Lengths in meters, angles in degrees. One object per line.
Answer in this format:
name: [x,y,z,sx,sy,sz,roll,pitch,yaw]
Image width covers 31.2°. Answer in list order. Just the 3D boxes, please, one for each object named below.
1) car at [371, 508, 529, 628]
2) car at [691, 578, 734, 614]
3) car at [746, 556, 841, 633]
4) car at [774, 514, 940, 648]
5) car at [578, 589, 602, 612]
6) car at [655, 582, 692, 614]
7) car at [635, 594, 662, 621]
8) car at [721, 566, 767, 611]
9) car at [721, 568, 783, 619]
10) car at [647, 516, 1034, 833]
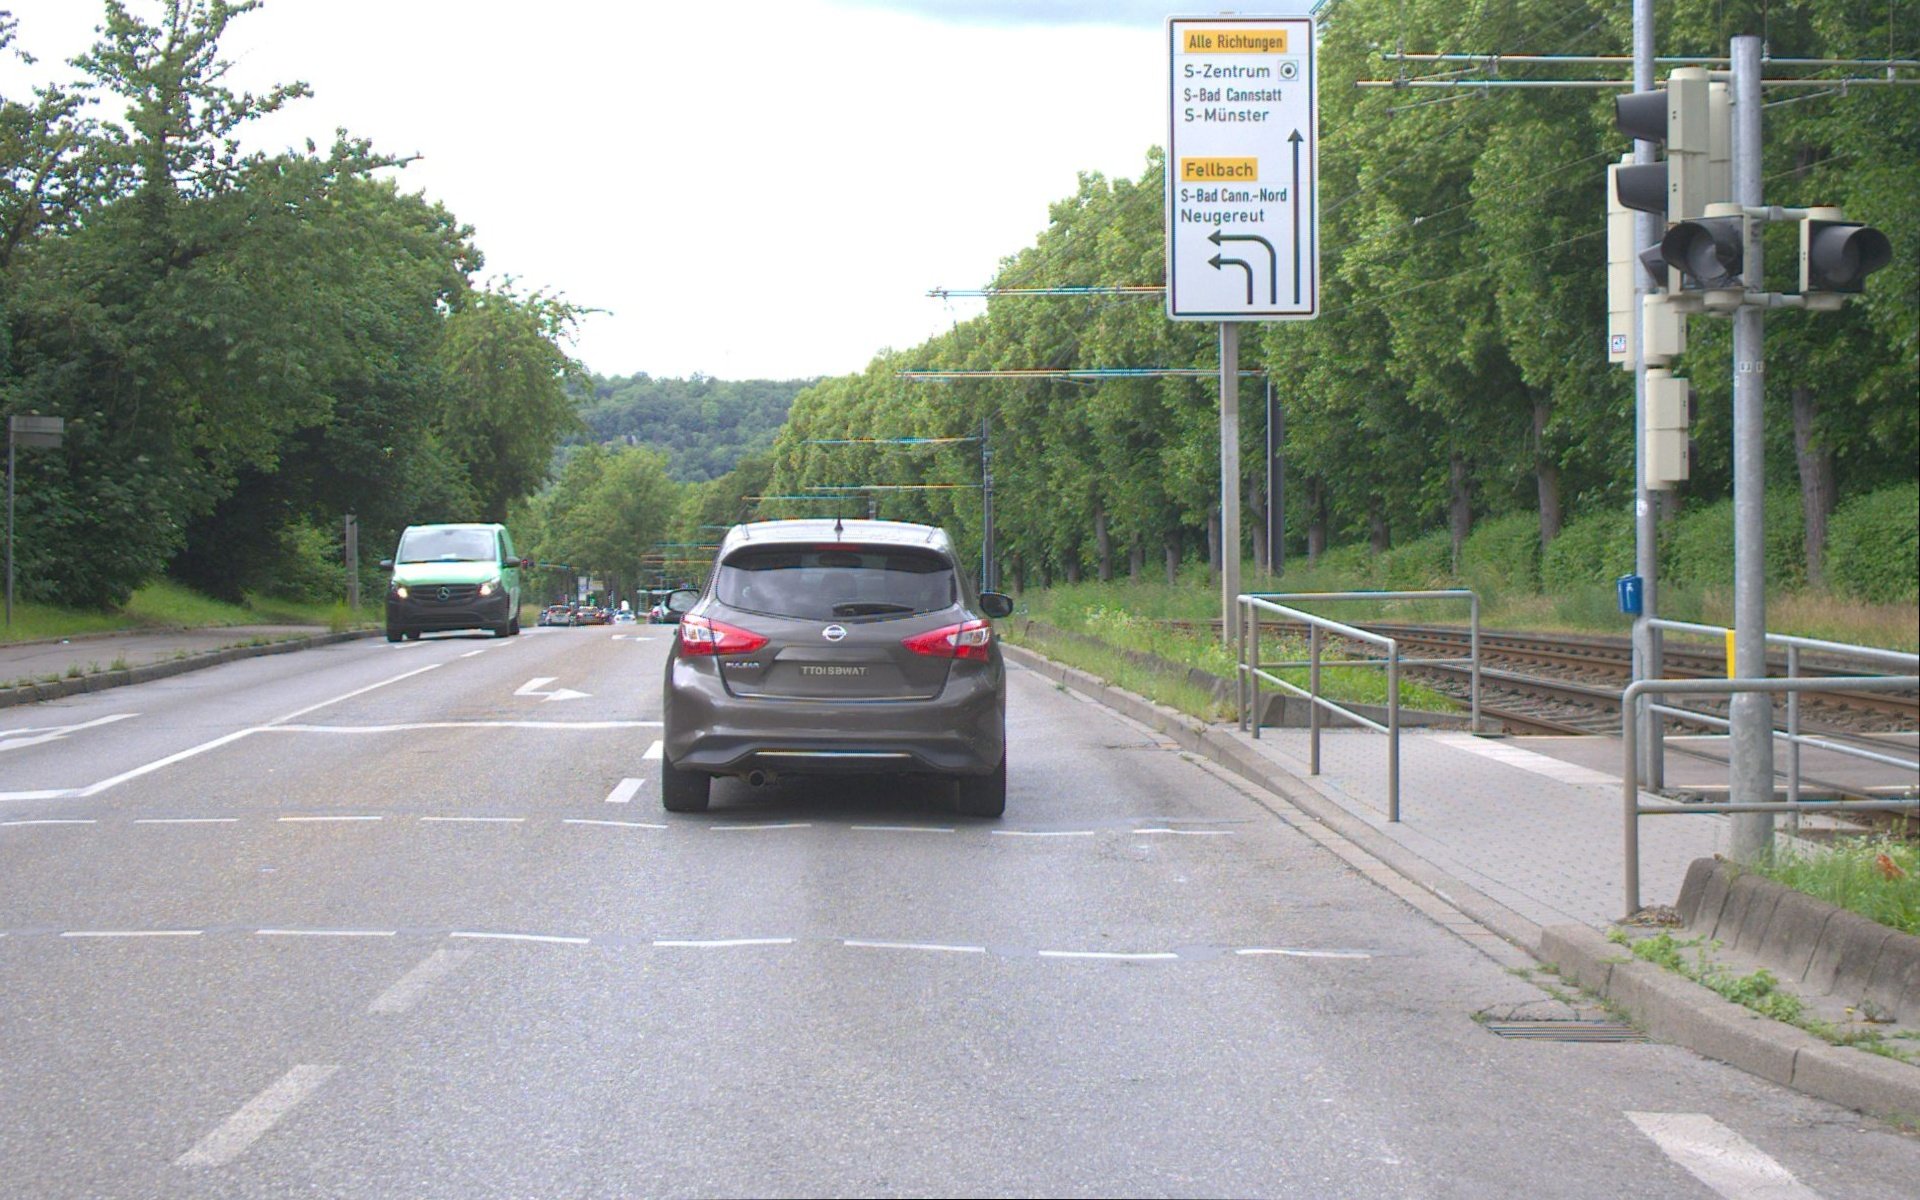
car: [-8.174,-0.541,55.463,2.058,1.804,4.730,-2,1,-3]
car: [-11.092,-0.160,153.812,1.794,1.505,4.000,1,-1,-5]
car: [-3.331,-0.085,68.090,1.699,1.439,4.000,1,-1,-5]
car: [-1.235,-0.184,39.698,1.699,1.439,4.000,1,-1,-4]
car: [-27.953,0.057,259.554,1.699,1.708,4.000,1,-1,-5]
car: [-14.527,-0.093,174.216,1.794,1.505,4.000,1,-1,-5]
car: [-20.361,0.513,224.656,1.699,1.708,4.000,1,-1,-5]
car: [-8.606,-0.430,136.728,1.699,1.708,4.000,1,-1,-5]
car: [-6.268,-0.179,103.387,1.699,1.439,4.000,1,-1,-5]
car: [-0.659,0.321,18.897,1.850,1.488,4.001,2,1,-2]
